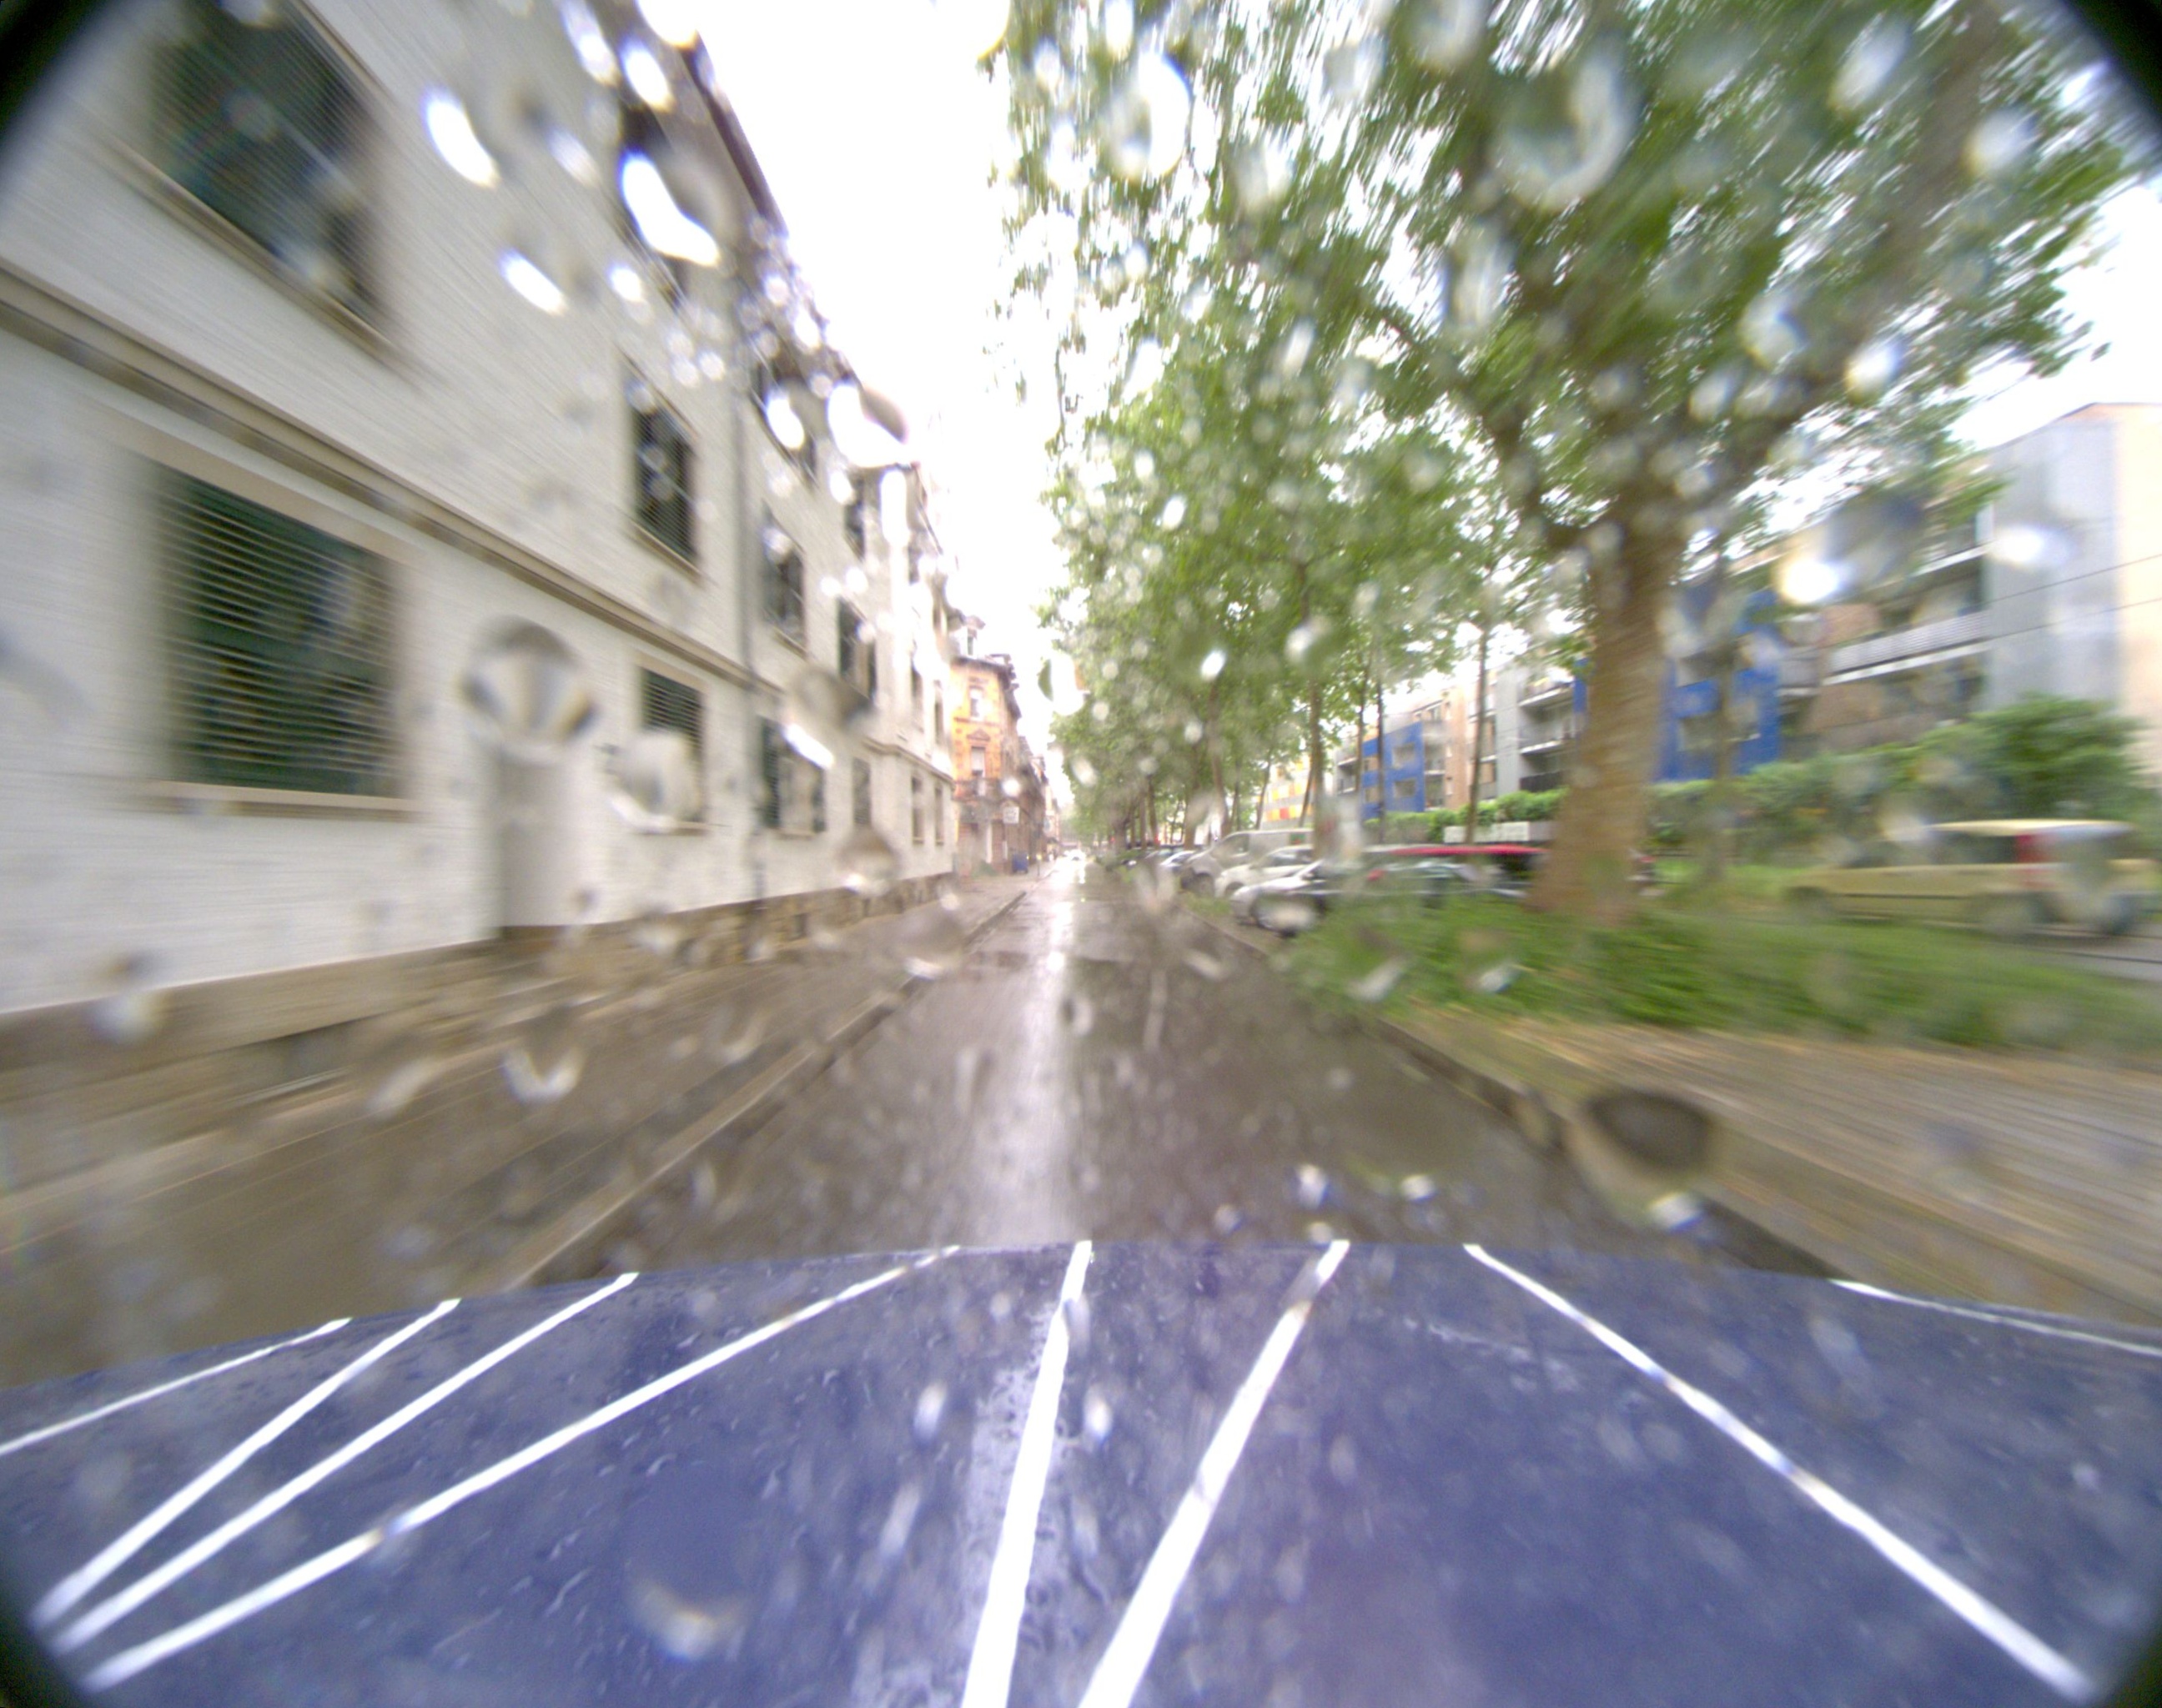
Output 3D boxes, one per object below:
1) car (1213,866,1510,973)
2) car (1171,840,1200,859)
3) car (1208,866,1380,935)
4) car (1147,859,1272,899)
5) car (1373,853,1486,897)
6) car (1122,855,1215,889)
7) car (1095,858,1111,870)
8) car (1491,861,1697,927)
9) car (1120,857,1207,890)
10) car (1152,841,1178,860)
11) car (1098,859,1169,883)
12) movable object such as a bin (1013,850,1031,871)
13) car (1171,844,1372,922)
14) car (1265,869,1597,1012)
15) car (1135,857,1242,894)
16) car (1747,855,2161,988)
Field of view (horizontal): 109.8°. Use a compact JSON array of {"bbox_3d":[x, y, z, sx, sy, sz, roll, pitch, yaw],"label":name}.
[{"bbox_3d":[4.765,1.002,13.098,4.548,1.473,1.778,1,0,30],"label":"car"},{"bbox_3d":[11.801,-0.481,85.975,2.060,1.985,5.432,-3,0,-4],"label":"car"},{"bbox_3d":[5.251,1.079,18.821,3.775,1.473,1.726,1,0,31],"label":"car"},{"bbox_3d":[4.854,0.952,28.757,4.305,1.428,1.751,-2,-1,26],"label":"car"},{"bbox_3d":[12.536,0.701,27.637,1.999,1.412,3.990,-2,0,-6],"label":"car"},{"bbox_3d":[4.548,0.902,39.559,4.406,1.650,1.933,0,0,28],"label":"car"},{"bbox_3d":[2.791,1.266,96.525,1.901,1.476,4.621,-2,0,0],"label":"car"},{"bbox_3d":[12.192,0.888,18.467,1.999,1.411,4.271,0,-1,-3],"label":"car"},{"bbox_3d":[4.609,1.033,42.438,4.405,1.636,1.875,1,1,31],"label":"car"},{"bbox_3d":[9.188,-0.395,83.609,2.043,1.988,5.158,-1,0,-3],"label":"car"},{"bbox_3d":[3.416,1.128,49.701,4.220,1.471,1.747,-2,0,27],"label":"car"},{"bbox_3d":[-3.831,0.410,49.769,1.024,1.294,1.367,3,0,-1],"label":"movable object such as a bin"},{"bbox_3d":[5.350,0.727,21.545,5.117,1.966,2.107,1,1,31],"label":"car"},{"bbox_3d":[4.636,1.016,10.311,3.807,1.512,1.726,1,0,31],"label":"car"},{"bbox_3d":[4.504,0.900,31.742,4.059,1.490,1.750,-1,-1,23],"label":"car"},{"bbox_3d":[12.264,0.789,10.852,1.998,1.499,3.999,-1,1,0],"label":"car"}]
